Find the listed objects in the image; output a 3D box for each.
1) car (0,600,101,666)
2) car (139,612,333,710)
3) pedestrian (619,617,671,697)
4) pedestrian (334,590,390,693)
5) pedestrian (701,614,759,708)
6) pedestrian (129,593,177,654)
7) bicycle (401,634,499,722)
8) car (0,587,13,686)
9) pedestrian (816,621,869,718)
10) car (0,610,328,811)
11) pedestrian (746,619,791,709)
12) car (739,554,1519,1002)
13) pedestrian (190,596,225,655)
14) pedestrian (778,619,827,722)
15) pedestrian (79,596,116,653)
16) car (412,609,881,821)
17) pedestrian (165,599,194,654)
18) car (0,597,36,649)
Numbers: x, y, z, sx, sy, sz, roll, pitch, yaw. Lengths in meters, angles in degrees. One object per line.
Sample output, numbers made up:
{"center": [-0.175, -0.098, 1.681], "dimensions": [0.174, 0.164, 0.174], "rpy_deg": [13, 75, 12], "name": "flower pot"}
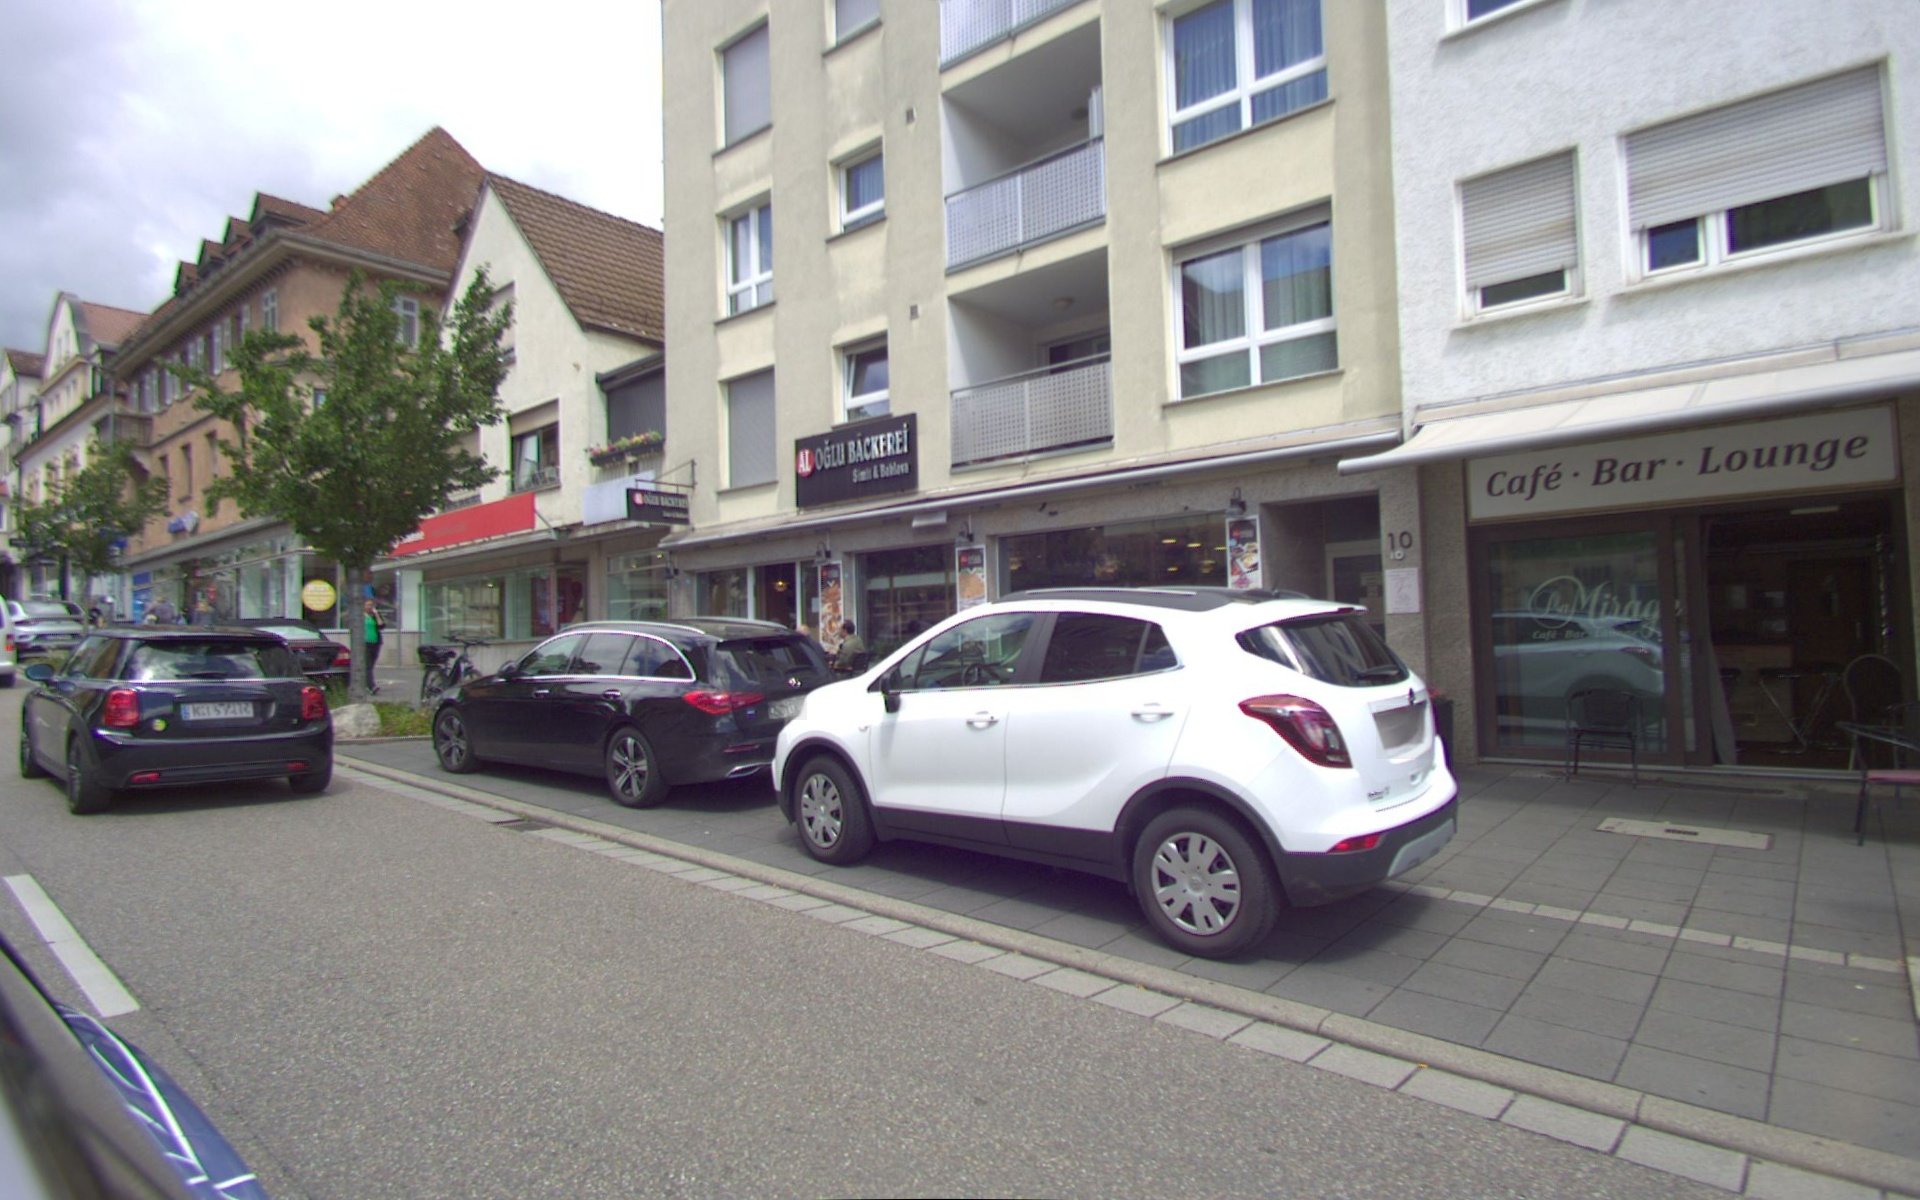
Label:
{"center": [-24.532, 0.822, 26.870], "dimensions": [4.448, 1.585, 1.709], "rpy_deg": [1, 0, 37], "name": "car"}
{"center": [-12.295, 0.931, 17.082], "dimensions": [4.441, 1.403, 1.640], "rpy_deg": [0, 0, 40], "name": "car"}
{"center": [-5.114, 0.916, 16.437], "dimensions": [0.598, 1.256, 0.589], "rpy_deg": [-1, -1, 39], "name": "pedestrian"}
{"center": [-10.635, 0.722, 17.996], "dimensions": [0.778, 1.774, 0.653], "rpy_deg": [0, 0, 42], "name": "pedestrian"}
{"center": [-3.212, 0.831, 14.135], "dimensions": [0.598, 1.277, 0.544], "rpy_deg": [-1, -1, 39], "name": "pedestrian"}
{"center": [-22.927, 0.659, 28.737], "dimensions": [0.905, 1.679, 0.862], "rpy_deg": [0, 0, 37], "name": "pedestrian"}
{"center": [-7.123, 1.048, 14.093], "dimensions": [1.905, 1.115, 0.479], "rpy_deg": [0, 0, 39], "name": "bicycle"}
{"center": [-19.785, 0.650, 19.483], "dimensions": [4.209, 1.816, 1.728], "rpy_deg": [0, -3, 40], "name": "car"}
{"center": [-1.574, 0.923, 13.596], "dimensions": [0.566, 1.259, 0.422], "rpy_deg": [-2, -1, 40], "name": "pedestrian"}
{"center": [-7.072, 0.821, 8.852], "dimensions": [3.627, 1.399, 1.590], "rpy_deg": [-1, -3, 41], "name": "car"}
{"center": [-2.750, 0.907, 14.531], "dimensions": [0.499, 1.259, 0.391], "rpy_deg": [-2, -1, 40], "name": "pedestrian"}
{"center": [0.664, 0.679, 5.754], "dimensions": [4.132, 1.659, 1.648], "rpy_deg": [-1, 0, 42], "name": "car"}
{"center": [-20.835, 0.698, 28.033], "dimensions": [0.641, 1.594, 0.608], "rpy_deg": [0, 0, 37], "name": "pedestrian"}
{"center": [-2.050, 0.900, 13.164], "dimensions": [0.453, 1.309, 0.417], "rpy_deg": [-2, -1, 39], "name": "pedestrian"}
{"center": [-24.605, 0.685, 28.879], "dimensions": [0.650, 1.585, 0.621], "rpy_deg": [0, 3, 39], "name": "pedestrian"}
{"center": [-3.008, 0.829, 9.251], "dimensions": [4.508, 1.462, 1.822], "rpy_deg": [0, 0, 37], "name": "car"}
{"center": [-21.257, 0.711, 27.575], "dimensions": [0.527, 1.489, 0.491], "rpy_deg": [0, 0, 37], "name": "pedestrian"}
{"center": [-30.403, 0.703, 31.571], "dimensions": [3.957, 1.537, 1.649], "rpy_deg": [0, 1, 37], "name": "car"}
